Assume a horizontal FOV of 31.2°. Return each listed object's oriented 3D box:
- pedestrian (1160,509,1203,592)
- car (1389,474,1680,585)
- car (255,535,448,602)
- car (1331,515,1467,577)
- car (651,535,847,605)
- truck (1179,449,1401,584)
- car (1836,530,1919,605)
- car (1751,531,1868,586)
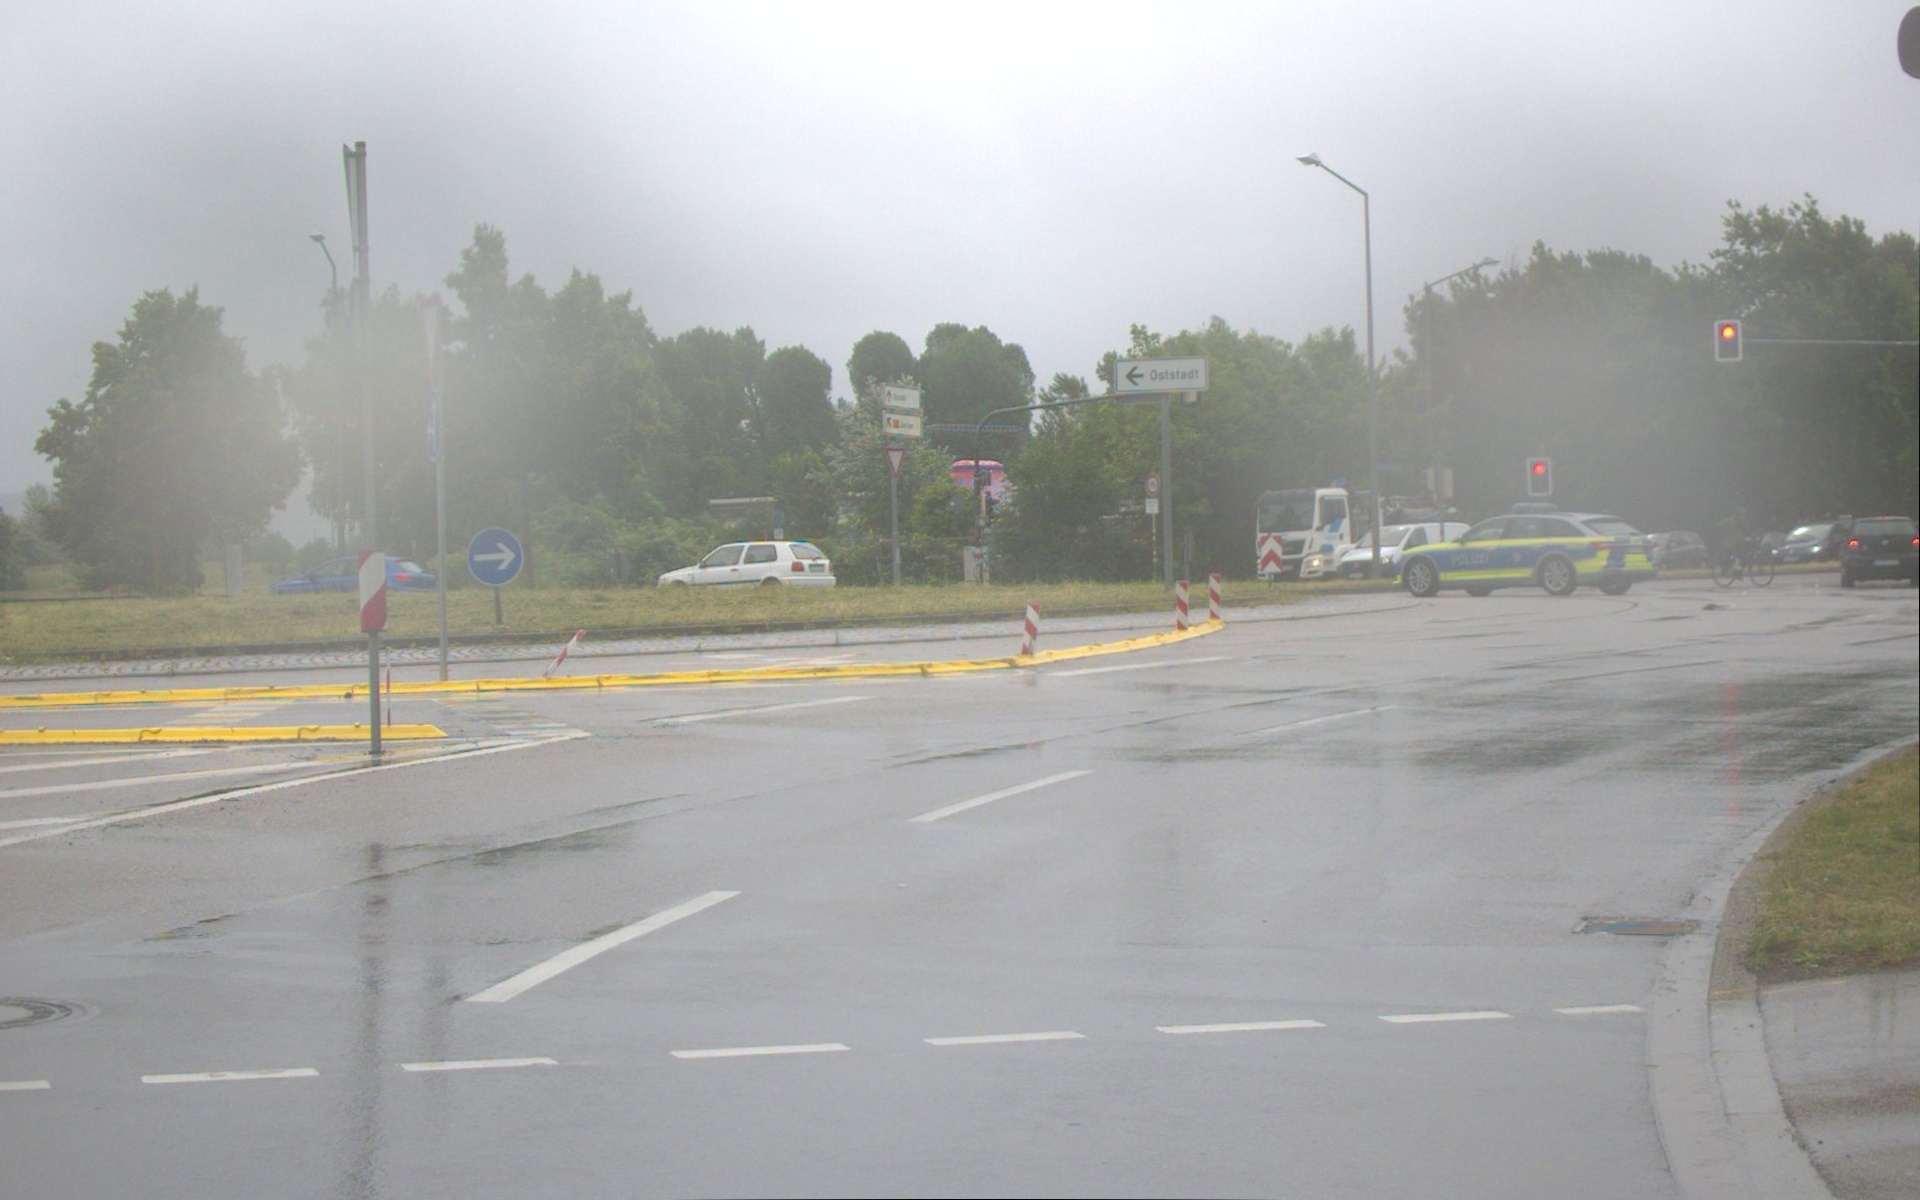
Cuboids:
[{"bbox_3d":[3.505,-0.781,54.433,0.453,1.300,0.485,0,1,38],"label":"pedestrian"},{"bbox_3d":[10.010,-1.217,60.183,1.995,1.845,4.773,-2,1,-43],"label":"car"},{"bbox_3d":[-13.847,-0.718,78.275,3.976,1.449,1.622,-1,1,13],"label":"car"},{"bbox_3d":[12.338,-1.512,96.505,1.800,1.656,4.124,1,0,41],"label":"car"},{"bbox_3d":[-4.591,-0.646,74.662,3.981,1.449,1.621,0,1,30],"label":"car"},{"bbox_3d":[7.223,-1.741,74.200,2.464,2.677,8.049,1,0,23],"label":"truck"},{"bbox_3d":[19.072,-0.693,71.200,1.619,1.449,3.986,-1,1,12],"label":"car"},{"bbox_3d":[27.115,-1.316,109.659,1.800,1.656,4.399,1,0,41],"label":"car"}]
